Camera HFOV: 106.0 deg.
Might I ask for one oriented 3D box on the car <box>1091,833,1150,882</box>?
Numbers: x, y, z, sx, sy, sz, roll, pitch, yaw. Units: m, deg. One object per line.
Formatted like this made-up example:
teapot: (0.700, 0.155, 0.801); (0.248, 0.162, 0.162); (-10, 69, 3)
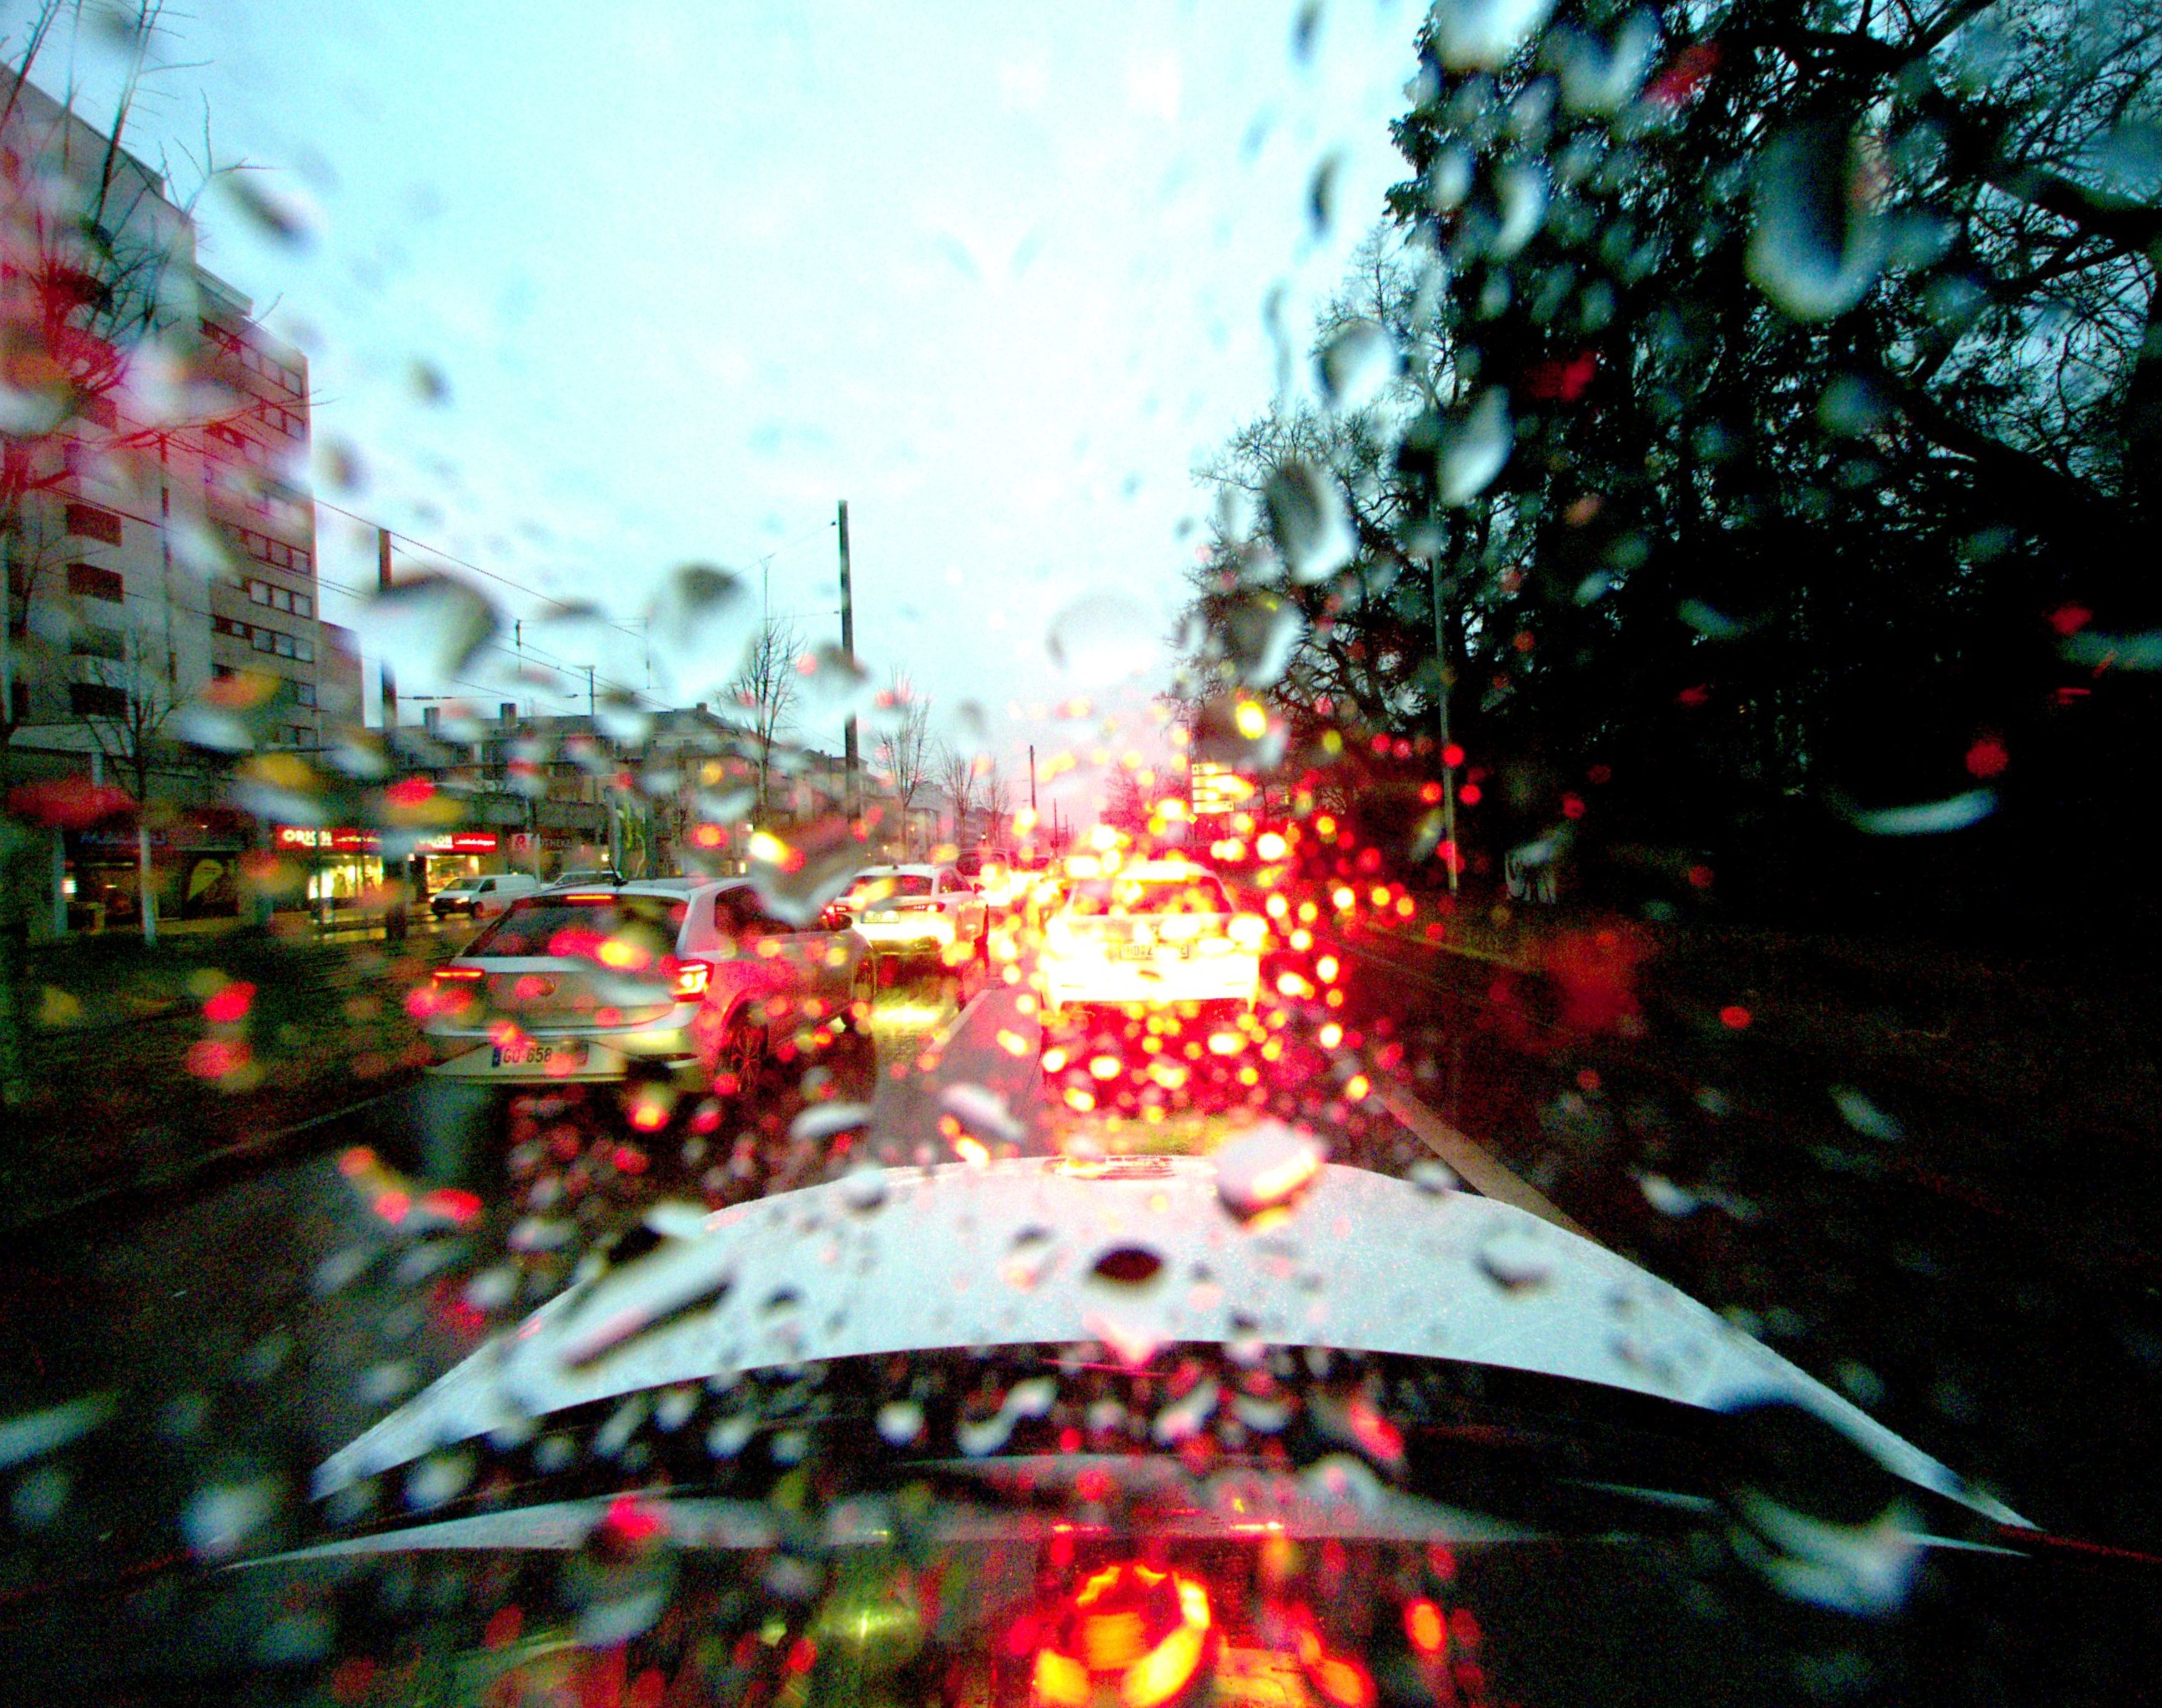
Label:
car: (1.269, 0.093, 26.689); (1.731, 1.419, 3.704); (-3, 0, 2)

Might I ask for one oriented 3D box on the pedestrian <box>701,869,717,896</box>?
pedestrian: (-29.286, 2.218, 64.094); (1.009, 2.013, 0.954); (-2, 0, -26)

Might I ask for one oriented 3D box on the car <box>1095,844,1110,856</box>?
car: (2.731, -0.539, 101.887); (1.731, 1.419, 4.147); (-3, 0, 2)

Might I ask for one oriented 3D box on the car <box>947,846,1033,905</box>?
car: (-2.436, 0.535, 22.907); (1.731, 1.419, 4.395); (-3, 0, 2)

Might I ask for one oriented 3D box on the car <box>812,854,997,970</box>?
car: (-2.579, 0.769, 13.096); (1.792, 1.466, 4.587); (-3, 0, 2)

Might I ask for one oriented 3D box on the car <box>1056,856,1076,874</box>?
car: (-1.086, 0.799, 59.472); (1.359, 1.316, 2.715); (0, -1, -1)

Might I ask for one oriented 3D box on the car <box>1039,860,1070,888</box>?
car: (-1.315, 0.987, 40.993); (1.357, 1.316, 2.718); (0, -1, 3)

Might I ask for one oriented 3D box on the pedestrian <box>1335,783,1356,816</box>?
pedestrian: (16.717, -3.428, 51.511); (0.954, 2.013, 1.009); (-2, 0, 5)

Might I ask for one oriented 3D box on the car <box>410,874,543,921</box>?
car: (-29.708, 2.091, 40.335); (1.983, 2.046, 5.575); (0, -1, 6)

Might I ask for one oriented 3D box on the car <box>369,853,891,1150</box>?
car: (-2.854, 0.779, 6.302); (1.686, 1.533, 4.002); (-1, 0, 2)

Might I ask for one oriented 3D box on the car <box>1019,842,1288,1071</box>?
car: (0.598, 0.732, 8.289); (1.855, 1.556, 4.940); (-3, 0, 2)

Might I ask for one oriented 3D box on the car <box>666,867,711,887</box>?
car: (-40.698, 2.358, 84.442); (3.744, 1.942, 1.838); (0, -1, -7)

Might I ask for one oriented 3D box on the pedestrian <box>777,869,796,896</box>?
pedestrian: (-22.551, 2.160, 62.337); (1.076, 2.013, 0.996); (-2, 0, -35)

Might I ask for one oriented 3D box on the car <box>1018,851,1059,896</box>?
car: (-1.622, 0.746, 31.733); (1.501, 1.653, 2.843); (0, -1, -2)

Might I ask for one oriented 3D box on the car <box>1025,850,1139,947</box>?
car: (0.073, 0.728, 15.119); (1.793, 1.511, 3.897); (-2, 0, 2)

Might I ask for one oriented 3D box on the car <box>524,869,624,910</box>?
car: (-30.707, 2.097, 49.439); (4.859, 2.244, 1.975); (0, -1, -44)

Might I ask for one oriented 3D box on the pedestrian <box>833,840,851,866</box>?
pedestrian: (-19.159, -0.040, 65.246); (1.274, 2.013, 1.000); (-2, 0, -23)

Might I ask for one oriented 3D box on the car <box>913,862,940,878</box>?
car: (-16.136, 1.671, 85.139); (1.987, 1.602, 4.000); (0, -1, 1)

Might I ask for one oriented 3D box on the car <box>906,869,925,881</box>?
car: (-20.084, 2.517, 99.088); (1.688, 1.277, 4.141); (-2, 0, -4)
